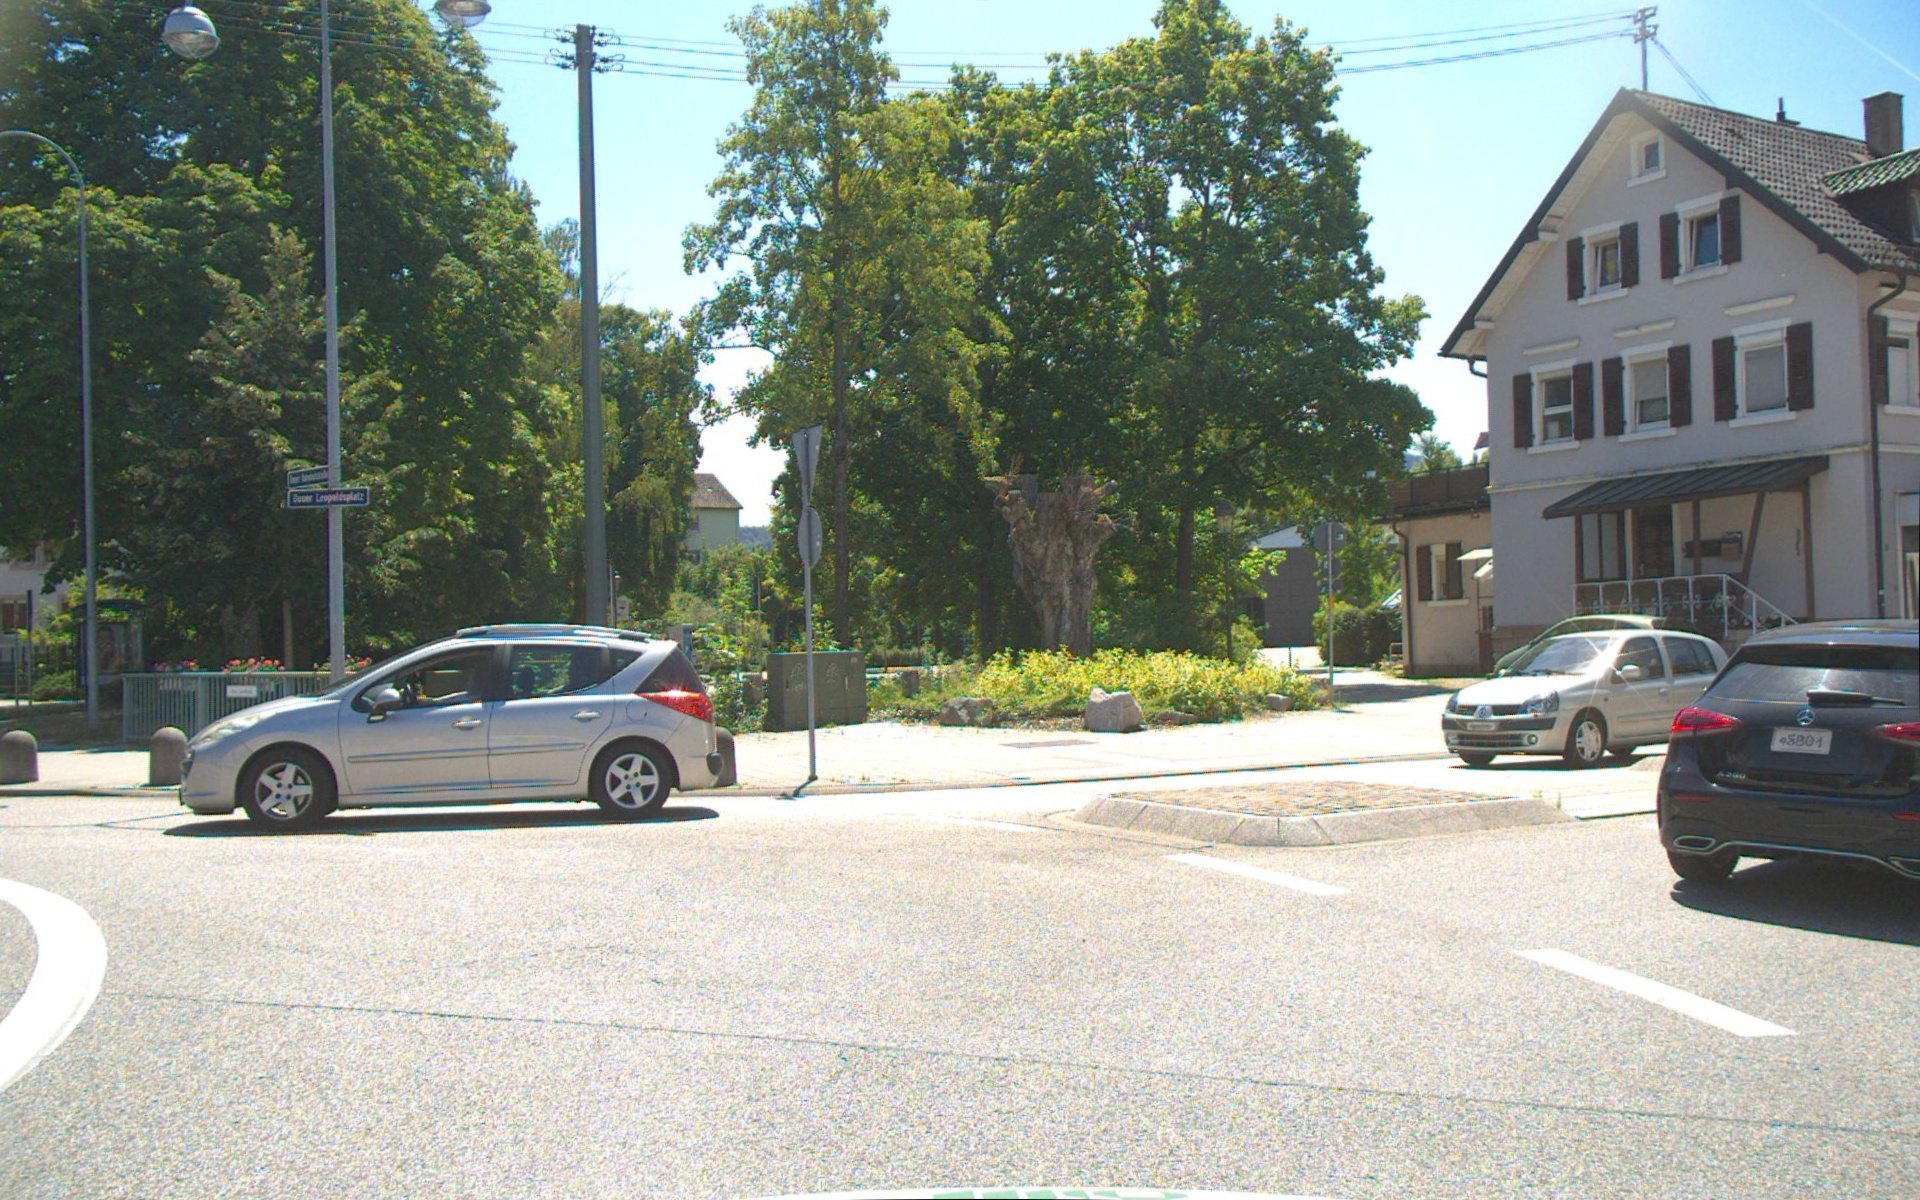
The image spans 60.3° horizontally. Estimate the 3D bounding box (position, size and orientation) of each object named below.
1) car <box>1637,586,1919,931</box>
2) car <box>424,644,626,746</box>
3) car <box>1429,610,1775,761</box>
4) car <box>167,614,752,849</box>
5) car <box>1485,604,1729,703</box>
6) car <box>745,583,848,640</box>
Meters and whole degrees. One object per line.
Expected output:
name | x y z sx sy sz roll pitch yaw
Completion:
car | 5.666 0.712 9.344 4.403 1.482 1.741 -1 3 -43
car | -7.603 1.619 29.007 1.606 1.580 3.039 -2 -1 44
car | 7.056 0.919 18.115 3.668 1.437 1.534 -1 -4 -31
car | -3.851 0.948 13.095 4.129 1.543 1.737 -1 -1 -18
car | 11.762 0.964 30.327 1.733 1.669 3.960 -1 -1 -29
car | -6.372 0.445 64.514 3.911 2.049 1.997 -2 -1 -7
